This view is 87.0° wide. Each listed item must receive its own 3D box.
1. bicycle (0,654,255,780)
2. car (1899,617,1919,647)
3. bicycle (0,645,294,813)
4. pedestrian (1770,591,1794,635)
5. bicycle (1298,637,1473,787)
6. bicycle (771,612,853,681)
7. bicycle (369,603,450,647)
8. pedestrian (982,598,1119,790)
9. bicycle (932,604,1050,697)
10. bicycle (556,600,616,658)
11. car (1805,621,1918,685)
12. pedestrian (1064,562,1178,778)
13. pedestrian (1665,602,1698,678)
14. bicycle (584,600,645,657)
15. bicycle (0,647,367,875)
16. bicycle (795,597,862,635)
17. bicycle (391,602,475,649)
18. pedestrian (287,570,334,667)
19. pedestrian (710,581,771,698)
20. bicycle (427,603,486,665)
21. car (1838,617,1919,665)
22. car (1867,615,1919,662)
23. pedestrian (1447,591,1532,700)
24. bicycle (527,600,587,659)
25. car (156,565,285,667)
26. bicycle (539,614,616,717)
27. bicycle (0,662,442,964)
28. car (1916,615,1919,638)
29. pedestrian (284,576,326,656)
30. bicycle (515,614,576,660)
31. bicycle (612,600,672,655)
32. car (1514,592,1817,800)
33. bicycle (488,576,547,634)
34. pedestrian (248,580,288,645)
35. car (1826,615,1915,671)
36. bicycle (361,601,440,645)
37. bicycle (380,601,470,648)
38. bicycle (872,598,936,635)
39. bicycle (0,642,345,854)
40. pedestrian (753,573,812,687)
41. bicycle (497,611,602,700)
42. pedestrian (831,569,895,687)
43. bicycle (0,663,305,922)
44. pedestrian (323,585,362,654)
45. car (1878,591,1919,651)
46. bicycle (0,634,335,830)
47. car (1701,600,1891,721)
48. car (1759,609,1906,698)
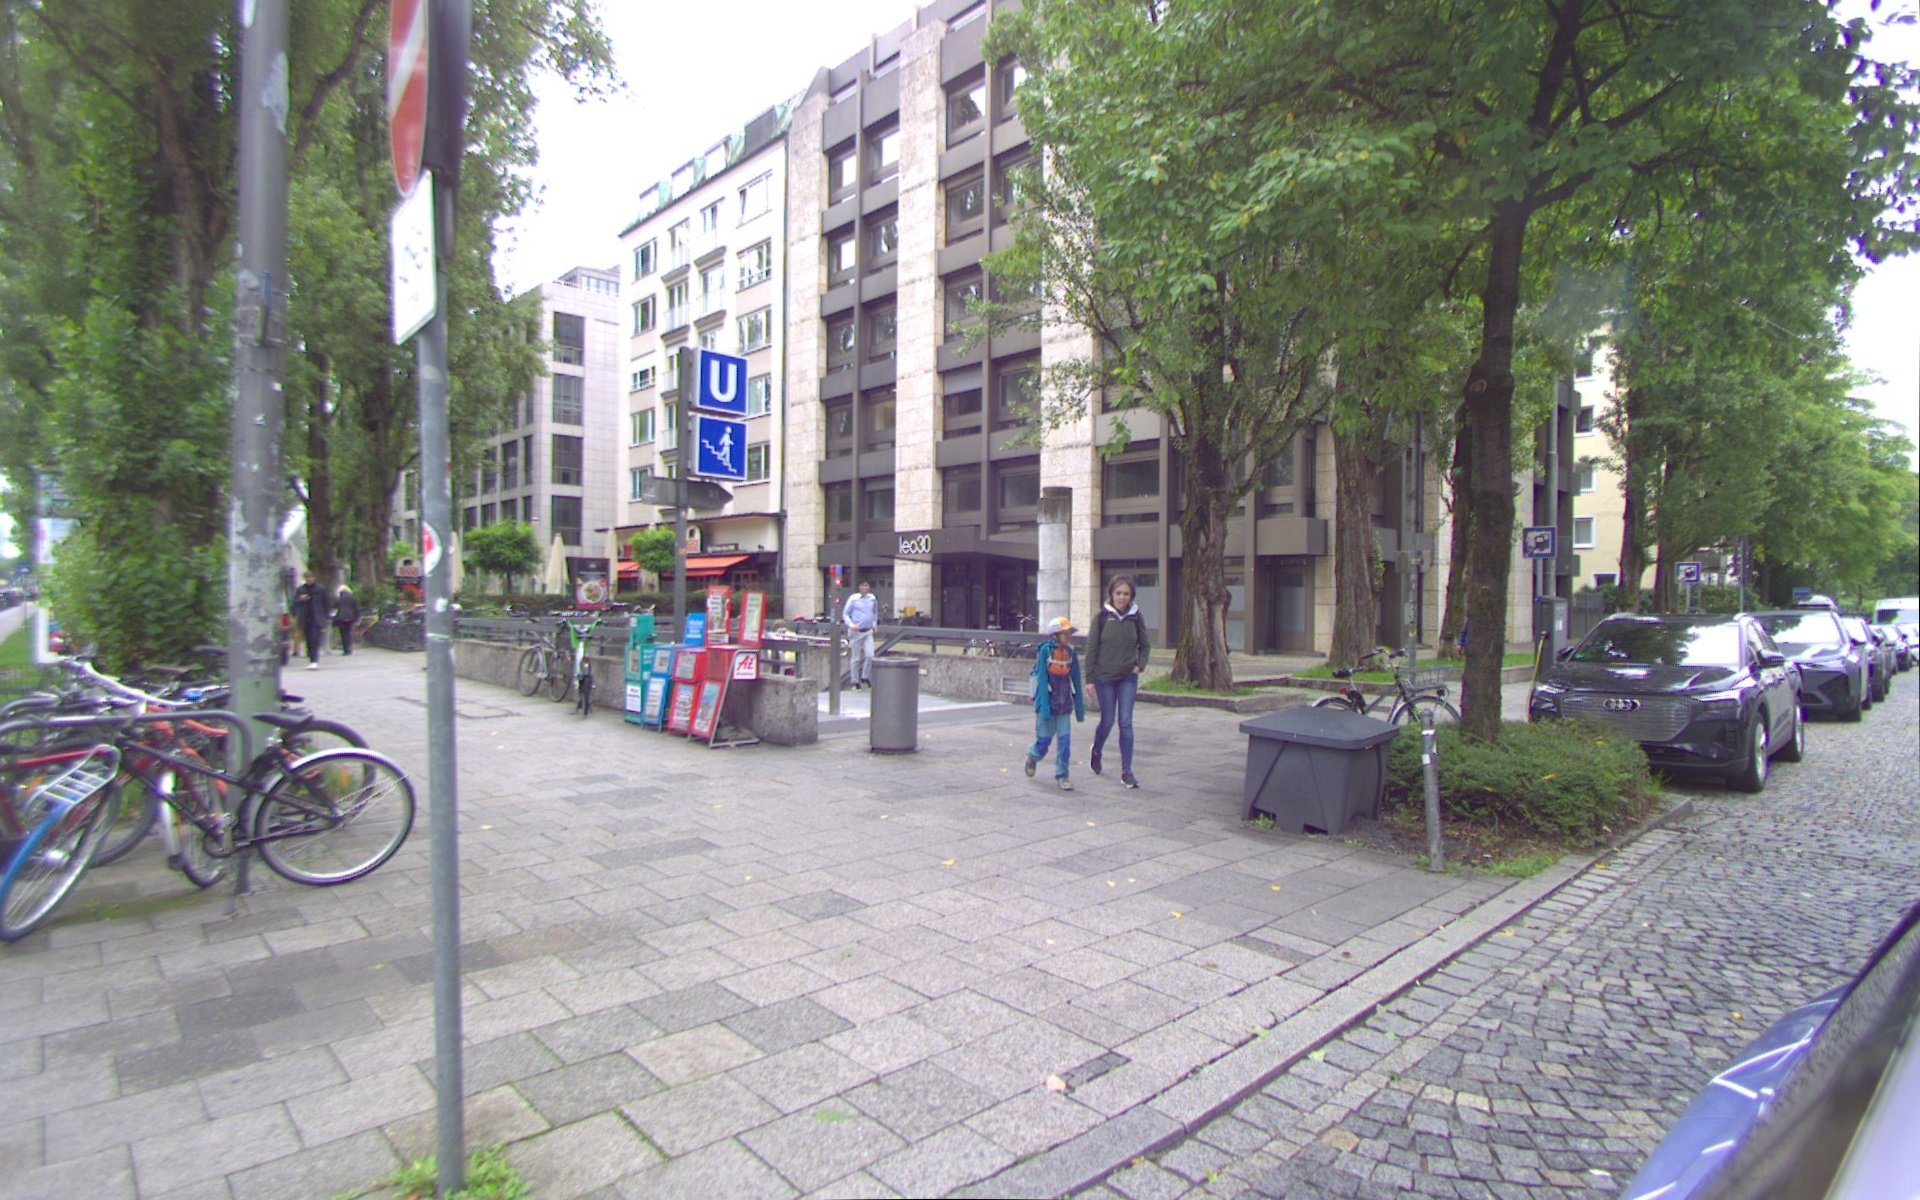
[{"bbox_3d":[-6.603,0.885,7.888,1.800,0.828,0.471,0,0,-38],"label":"bicycle"},{"bbox_3d":[46.212,1.515,48.281,1.993,1.405,3.813,-1,-1,43],"label":"car"},{"bbox_3d":[-6.009,0.895,7.470,1.800,1.051,0.513,0,0,-38],"label":"bicycle"},{"bbox_3d":[29.740,0.475,36.612,0.644,1.557,0.698,0,0,43],"label":"pedestrian"},{"bbox_3d":[3.700,0.913,8.736,1.840,1.151,0.476,1,0,-35],"label":"bicycle"},{"bbox_3d":[-2.751,0.824,18.674,0.577,1.174,1.866,1,0,-41],"label":"bicycle"},{"bbox_3d":[-15.106,0.676,27.793,1.836,1.174,0.587,1,0,-41],"label":"bicycle"},{"bbox_3d":[0.718,0.707,8.146,0.802,1.437,0.772,1,0,-27],"label":"pedestrian"},{"bbox_3d":[0.441,0.721,15.316,0.709,1.293,1.866,1,0,-41],"label":"bicycle"},{"bbox_3d":[-8.036,0.607,21.711,0.577,1.174,1.866,1,0,-41],"label":"bicycle"},{"bbox_3d":[22.389,1.271,25.082,4.136,1.408,1.720,0,-3,-44],"label":"car"},{"bbox_3d":[1.348,0.559,8.516,0.650,1.722,0.691,1,0,-27],"label":"pedestrian"},{"bbox_3d":[15.980,0.883,22.414,0.558,1.649,0.489,1,-1,-40],"label":"pedestrian"},{"bbox_3d":[-7.568,0.593,22.121,0.577,1.174,1.866,1,0,-41],"label":"bicycle"},{"bbox_3d":[-4.500,0.856,5.803,1.844,1.064,0.475,-1,1,-42],"label":"bicycle"},{"bbox_3d":[-4.239,0.503,32.764,2.208,1.170,0.646,1,0,-44],"label":"bicycle"},{"bbox_3d":[-13.504,0.643,25.957,1.836,1.174,0.587,1,0,-41],"label":"bicycle"},{"bbox_3d":[-12.845,0.358,20.014,0.688,1.864,0.705,1,0,-40],"label":"pedestrian"},{"bbox_3d":[-3.341,0.580,15.386,0.651,1.718,0.806,1,0,-33],"label":"pedestrian"},{"bbox_3d":[-10.281,0.667,20.622,0.577,1.174,1.981,1,0,-41],"label":"bicycle"},{"bbox_3d":[29.040,1.236,31.704,3.810,1.405,1.994,0,-1,-44],"label":"car"},{"bbox_3d":[32.639,1.286,34.953,1.862,1.518,3.813,-1,-1,43],"label":"car"},{"bbox_3d":[8.728,0.724,16.691,0.893,1.736,0.870,1,0,-24],"label":"pedestrian"},{"bbox_3d":[-8.488,0.603,21.289,0.577,1.174,1.866,1,0,-41],"label":"bicycle"},{"bbox_3d":[-15.914,0.290,21.658,1.783,1.920,5.194,1,0,-41],"label":"car"},{"bbox_3d":[-4.846,0.775,12.755,0.576,1.174,1.871,1,0,-31],"label":"bicycle"},{"bbox_3d":[-3.425,0.873,4.619,0.474,1.064,1.848,0,0,41],"label":"bicycle"},{"bbox_3d":[60.656,1.638,62.761,1.993,1.405,3.812,1,0,43],"label":"car"},{"bbox_3d":[-15.416,0.372,23.824,0.736,1.826,0.842,1,-1,-38],"label":"pedestrian"},{"bbox_3d":[-11.196,0.982,27.302,1.856,1.174,0.581,1,0,34],"label":"bicycle"},{"bbox_3d":[-7.095,0.588,22.535,0.577,1.174,1.866,1,0,-41],"label":"bicycle"},{"bbox_3d":[7.480,0.810,10.565,1.921,1.722,4.133,0,-1,45],"label":"car"},{"bbox_3d":[-9.232,0.094,21.089,0.577,1.174,1.866,1,0,-41],"label":"bicycle"},{"bbox_3d":[-20.601,0.363,30.139,0.902,1.890,1.013,1,-1,-38],"label":"pedestrian"},{"bbox_3d":[25.603,1.175,28.433,3.504,1.449,1.601,1,-2,-45],"label":"car"},{"bbox_3d":[-15.632,0.640,28.289,1.836,1.174,0.587,1,-1,-41],"label":"bicycle"},{"bbox_3d":[-13.952,0.633,26.416,1.996,1.174,0.587,1,0,-41],"label":"bicycle"},{"bbox_3d":[-1.839,0.535,33.272,2.208,1.170,0.646,1,0,-44],"label":"bicycle"},{"bbox_3d":[-4.853,0.839,6.158,1.844,1.064,0.475,-1,1,-42],"label":"bicycle"},{"bbox_3d":[-2.734,0.447,15.567,0.599,1.701,0.846,1,0,-33],"label":"pedestrian"},{"bbox_3d":[-5.922,0.760,14.554,1.860,1.174,0.579,0,0,39],"label":"bicycle"},{"bbox_3d":[-1.470,0.410,15.369,0.701,1.746,0.668,1,-1,-43],"label":"pedestrian"},{"bbox_3d":[-4.162,0.857,4.670,1.844,1.064,0.475,1,-1,-42],"label":"bicycle"},{"bbox_3d":[-14.806,0.450,24.256,0.685,1.626,0.833,1,-1,-38],"label":"pedestrian"},{"bbox_3d":[41.456,0.891,43.974,2.082,2.464,5.520,-1,-1,44],"label":"car"},{"bbox_3d":[-5.399,0.828,6.886,1.898,1.119,0.512,0,0,-44],"label":"bicycle"},{"bbox_3d":[13.906,0.873,16.731,2.013,1.722,4.597,0,-1,45],"label":"car"},{"bbox_3d":[17.854,0.987,20.645,1.994,1.603,4.272,0,-1,45],"label":"car"}]
